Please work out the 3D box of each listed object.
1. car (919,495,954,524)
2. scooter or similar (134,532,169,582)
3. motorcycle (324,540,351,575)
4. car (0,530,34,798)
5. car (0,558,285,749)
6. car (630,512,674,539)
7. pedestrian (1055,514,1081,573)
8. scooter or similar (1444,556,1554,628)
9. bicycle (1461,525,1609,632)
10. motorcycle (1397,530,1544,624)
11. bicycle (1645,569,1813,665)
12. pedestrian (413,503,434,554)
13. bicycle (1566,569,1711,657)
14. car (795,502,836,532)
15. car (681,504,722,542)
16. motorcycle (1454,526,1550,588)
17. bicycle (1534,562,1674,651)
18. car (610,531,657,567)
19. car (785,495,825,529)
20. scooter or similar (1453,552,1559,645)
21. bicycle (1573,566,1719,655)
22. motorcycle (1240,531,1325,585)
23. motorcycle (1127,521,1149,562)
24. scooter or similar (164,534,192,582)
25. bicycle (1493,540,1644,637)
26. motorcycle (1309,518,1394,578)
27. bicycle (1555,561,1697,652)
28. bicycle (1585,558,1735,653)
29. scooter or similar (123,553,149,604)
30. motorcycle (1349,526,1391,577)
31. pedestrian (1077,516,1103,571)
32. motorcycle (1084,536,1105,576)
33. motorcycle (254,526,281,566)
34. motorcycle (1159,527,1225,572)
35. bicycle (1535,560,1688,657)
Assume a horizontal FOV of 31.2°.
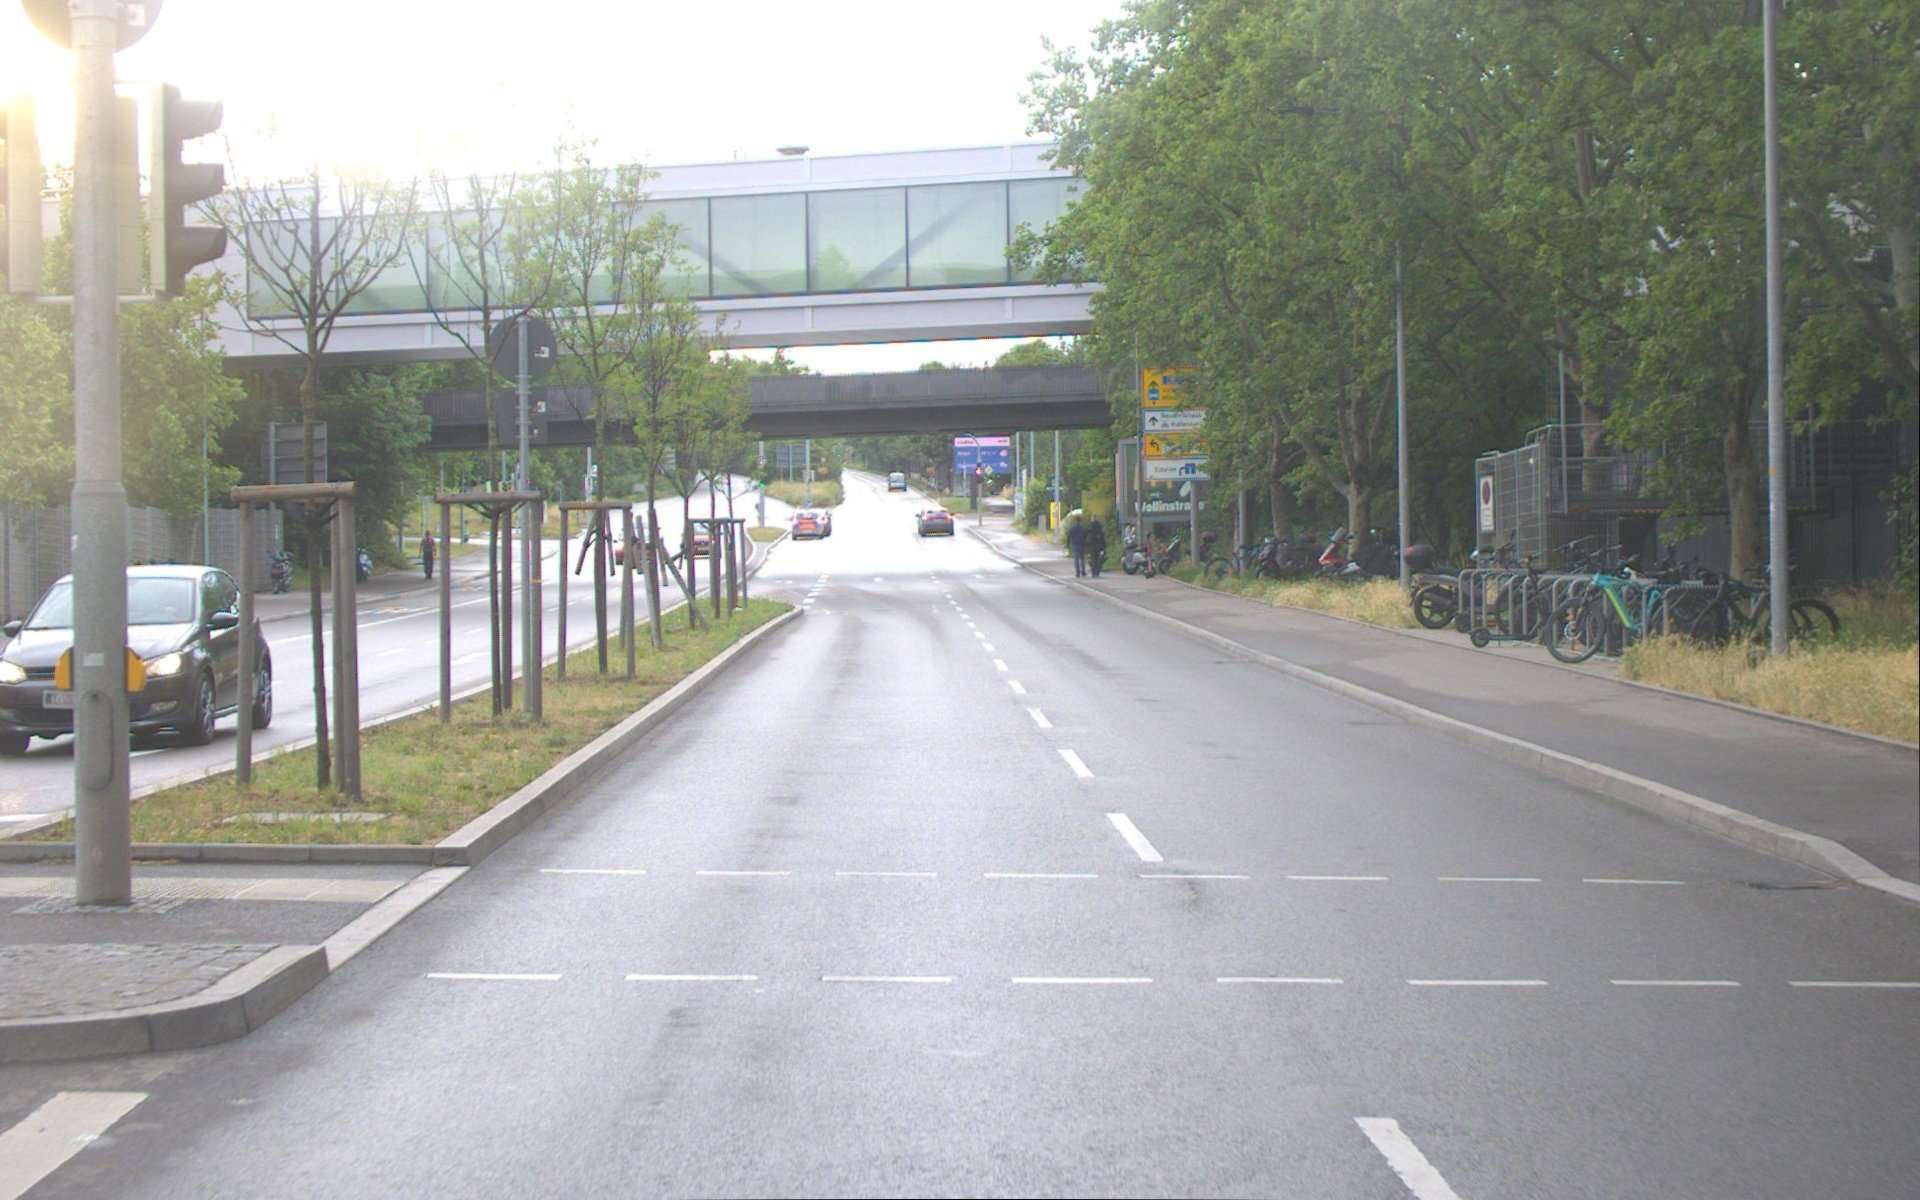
[{"bbox_3d":[-1.285,-4.868,183.939,1.744,1.465,4.167,0,2,-2],"label":"car"},{"bbox_3d":[-20.318,-1.081,86.387,0.311,1.214,1.307,-1,1,10],"label":"scooter or similar"},{"bbox_3d":[-21.378,-1.473,118.057,0.468,1.154,1.932,-1,2,2],"label":"motorcycle"},{"bbox_3d":[-6.582,0.419,18.776,1.771,1.584,4.485,-2,1,0],"label":"car"},{"bbox_3d":[-6.699,0.381,28.115,1.577,1.399,4.112,-2,1,-1],"label":"car"},{"bbox_3d":[-16.081,-3.909,179.898,2.063,1.357,4.758,-1,2,-3],"label":"car"},{"bbox_3d":[3.165,-1.665,100.670,0.611,1.715,0.891,-1,1,9],"label":"pedestrian"},{"bbox_3d":[7.414,-0.115,47.286,1.472,0.933,0.367,-2,1,-18],"label":"scooter or similar"},{"bbox_3d":[7.523,-0.283,44.990,1.857,1.343,0.448,-2,1,-13],"label":"bicycle"},{"bbox_3d":[7.219,-0.325,48.637,2.009,1.268,0.441,-1,1,11],"label":"motorcycle"},{"bbox_3d":[7.867,0.170,35.183,1.607,0.936,0.387,-2,1,-1],"label":"bicycle"},{"bbox_3d":[-19.464,-2.598,124.665,0.520,1.809,0.799,0,2,9],"label":"pedestrian"},{"bbox_3d":[7.750,0.145,39.292,1.551,0.955,0.393,-2,1,-1],"label":"bicycle"},{"bbox_3d":[-8.198,-4.694,195.148,2.166,1.577,4.664,1,1,-1],"label":"car"},{"bbox_3d":[-11.521,-3.405,153.414,1.585,1.600,3.856,-3,1,-1],"label":"car"},{"bbox_3d":[11.263,-0.896,71.415,1.915,1.253,0.491,1,0,5],"label":"motorcycle"},{"bbox_3d":[7.636,0.077,40.787,1.551,1.001,0.393,-2,1,-1],"label":"bicycle"},{"bbox_3d":[-13.922,-2.167,146.759,1.715,1.432,3.772,-3,1,-2],"label":"car"},{"bbox_3d":[-8.316,-4.713,184.181,2.076,1.712,4.199,1,1,-3],"label":"car"},{"bbox_3d":[6.656,-0.019,41.888,1.212,1.087,0.312,-2,1,-5],"label":"scooter or similar"},{"bbox_3d":[7.763,0.119,38.907,1.551,0.955,0.393,-2,1,-1],"label":"bicycle"},{"bbox_3d":[7.332,-0.961,78.082,1.848,1.187,0.522,-2,2,-16],"label":"motorcycle"},{"bbox_3d":[5.319,-1.759,102.654,0.469,1.209,1.945,-1,1,-1],"label":"motorcycle"},{"bbox_3d":[-20.323,-1.095,89.335,0.311,1.214,1.308,-1,1,3],"label":"scooter or similar"},{"bbox_3d":[7.643,-0.151,43.207,1.788,1.163,0.448,-2,1,-7],"label":"bicycle"},{"bbox_3d":[7.760,-1.027,68.183,1.653,1.146,0.493,1,0,7],"label":"motorcycle"},{"bbox_3d":[7.737,0.072,39.968,1.551,1.001,0.393,-2,1,-1],"label":"bicycle"},{"bbox_3d":[7.726,0.055,37.984,1.551,1.001,0.393,-2,1,-1],"label":"bicycle"},{"bbox_3d":[-20.203,-0.542,84.283,0.311,1.214,1.308,-1,1,-1],"label":"scooter or similar"},{"bbox_3d":[10.477,-1.242,87.826,0.348,1.275,2.068,0,2,27],"label":"motorcycle"},{"bbox_3d":[3.817,-1.652,100.693,0.651,1.590,0.578,-1,1,10],"label":"pedestrian"},{"bbox_3d":[3.941,-1.295,100.865,0.469,1.132,1.819,-1,1,-2],"label":"motorcycle"},{"bbox_3d":[-21.412,-1.667,106.343,0.468,1.200,1.997,-1,2,-2],"label":"motorcycle"},{"bbox_3d":[6.857,-1.491,101.598,1.942,1.293,0.546,0,1,37],"label":"motorcycle"},{"bbox_3d":[7.002,0.088,36.970,1.551,1.001,0.393,-2,1,-1],"label":"bicycle"}]
